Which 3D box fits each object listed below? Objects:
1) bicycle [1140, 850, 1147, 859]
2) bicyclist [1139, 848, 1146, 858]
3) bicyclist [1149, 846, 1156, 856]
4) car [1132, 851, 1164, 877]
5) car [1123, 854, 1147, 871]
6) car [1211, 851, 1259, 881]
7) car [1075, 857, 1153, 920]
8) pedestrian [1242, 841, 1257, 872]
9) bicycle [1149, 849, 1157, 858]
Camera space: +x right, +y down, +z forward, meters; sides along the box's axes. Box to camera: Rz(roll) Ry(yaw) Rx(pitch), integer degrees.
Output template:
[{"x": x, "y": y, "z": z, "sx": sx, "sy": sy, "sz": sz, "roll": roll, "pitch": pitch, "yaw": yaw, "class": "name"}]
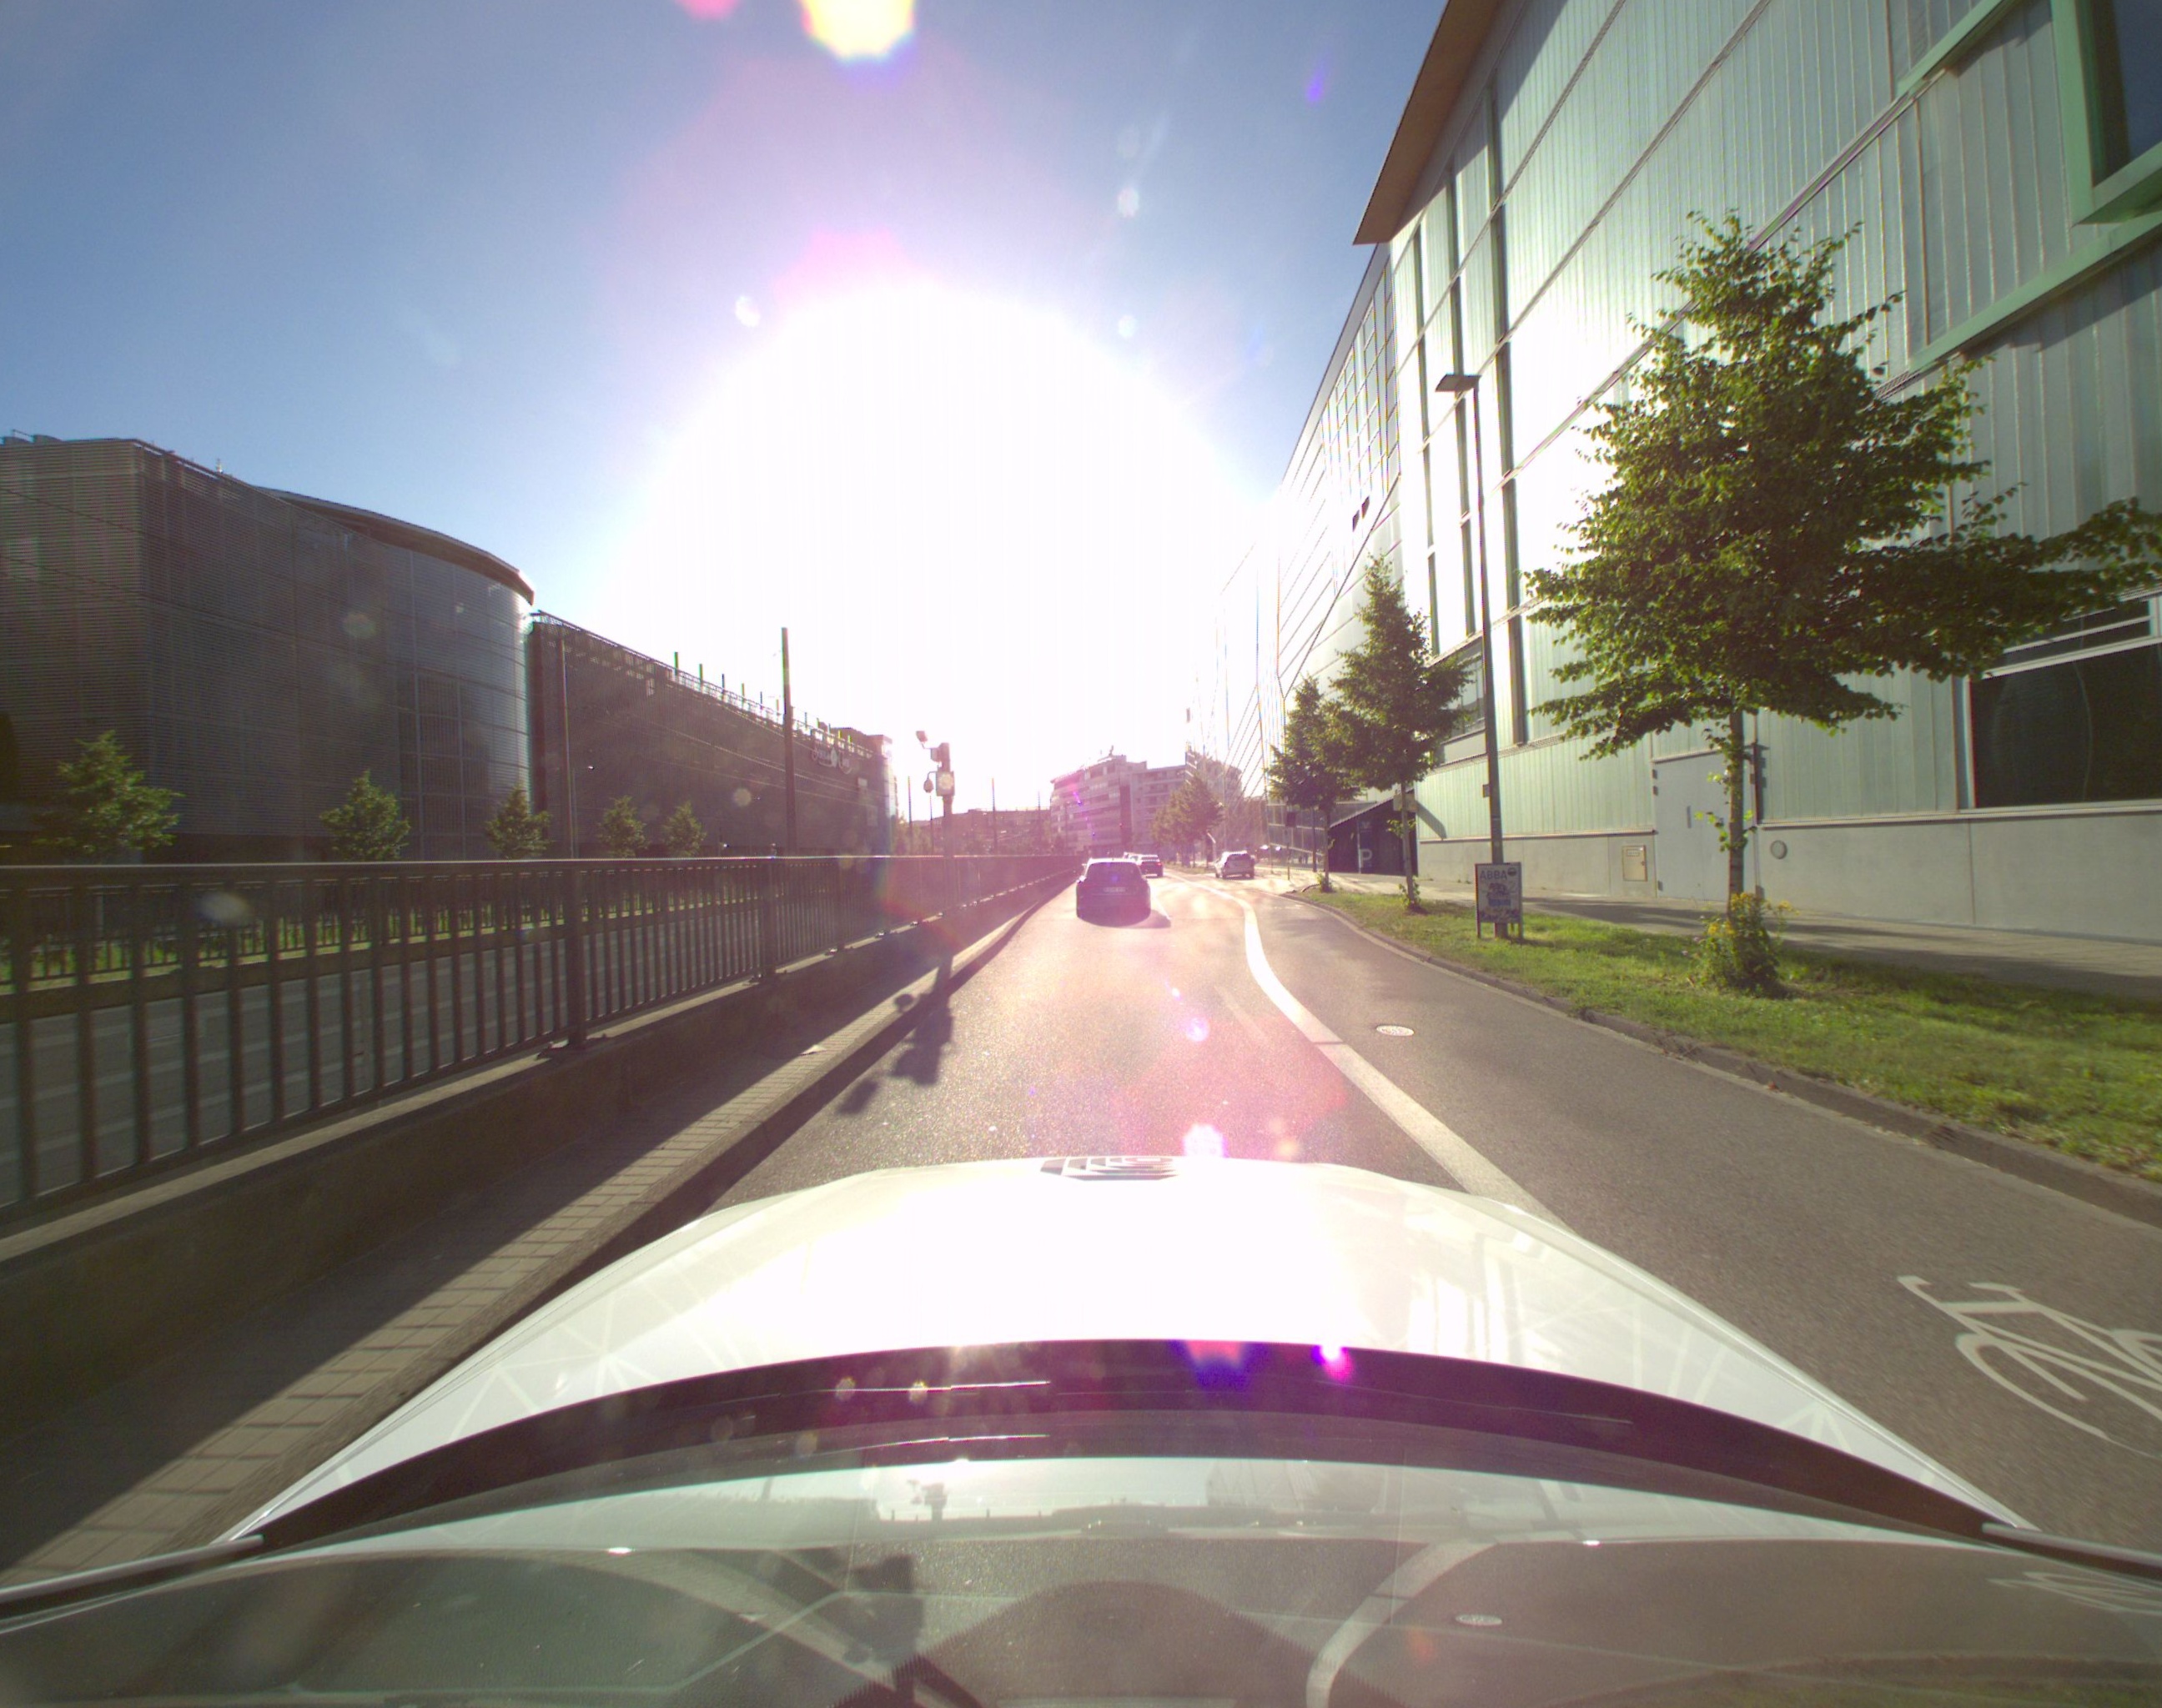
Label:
[{"x": 8.500, "y": 0.022, "z": 111.177, "sx": 0.722, "sy": 1.184, "sz": 2.092, "roll": -4, "pitch": 0, "yaw": -1, "class": "bicycle"}, {"x": 8.425, "y": -0.162, "z": 111.171, "sx": 0.722, "sy": 1.269, "sz": 1.035, "roll": -4, "pitch": 0, "yaw": -1, "class": "bicyclist"}, {"x": 9.928, "y": -0.435, "z": 112.500, "sx": 0.723, "sy": 1.418, "sz": 0.890, "roll": -4, "pitch": 0, "yaw": -5, "class": "bicyclist"}, {"x": 4.309, "y": 0.622, "z": 53.011, "sx": 1.846, "sy": 1.546, "sz": 4.001, "roll": -1, "pitch": 0, "yaw": 2, "class": "car"}, {"x": 5.070, "y": 0.783, "z": 76.546, "sx": 1.986, "sy": 1.465, "sz": 4.001, "roll": -1, "pitch": 1, "yaw": 1, "class": "car"}, {"x": 8.637, "y": 0.648, "z": 46.142, "sx": 1.846, "sy": 1.481, "sz": 4.855, "roll": -4, "pitch": 0, "yaw": 2, "class": "car"}, {"x": 0.856, "y": 0.845, "z": 21.680, "sx": 1.806, "sy": 1.427, "sz": 4.691, "roll": -2, "pitch": -1, "yaw": 1, "class": "car"}, {"x": 11.369, "y": 0.182, "z": 54.923, "sx": 0.833, "sy": 2.013, "sz": 0.690, "roll": -3, "pitch": 0, "yaw": 3, "class": "pedestrian"}, {"x": 9.939, "y": -0.006, "z": 112.475, "sx": 0.723, "sy": 1.184, "sz": 2.090, "roll": -4, "pitch": 0, "yaw": -5, "class": "bicycle"}]
